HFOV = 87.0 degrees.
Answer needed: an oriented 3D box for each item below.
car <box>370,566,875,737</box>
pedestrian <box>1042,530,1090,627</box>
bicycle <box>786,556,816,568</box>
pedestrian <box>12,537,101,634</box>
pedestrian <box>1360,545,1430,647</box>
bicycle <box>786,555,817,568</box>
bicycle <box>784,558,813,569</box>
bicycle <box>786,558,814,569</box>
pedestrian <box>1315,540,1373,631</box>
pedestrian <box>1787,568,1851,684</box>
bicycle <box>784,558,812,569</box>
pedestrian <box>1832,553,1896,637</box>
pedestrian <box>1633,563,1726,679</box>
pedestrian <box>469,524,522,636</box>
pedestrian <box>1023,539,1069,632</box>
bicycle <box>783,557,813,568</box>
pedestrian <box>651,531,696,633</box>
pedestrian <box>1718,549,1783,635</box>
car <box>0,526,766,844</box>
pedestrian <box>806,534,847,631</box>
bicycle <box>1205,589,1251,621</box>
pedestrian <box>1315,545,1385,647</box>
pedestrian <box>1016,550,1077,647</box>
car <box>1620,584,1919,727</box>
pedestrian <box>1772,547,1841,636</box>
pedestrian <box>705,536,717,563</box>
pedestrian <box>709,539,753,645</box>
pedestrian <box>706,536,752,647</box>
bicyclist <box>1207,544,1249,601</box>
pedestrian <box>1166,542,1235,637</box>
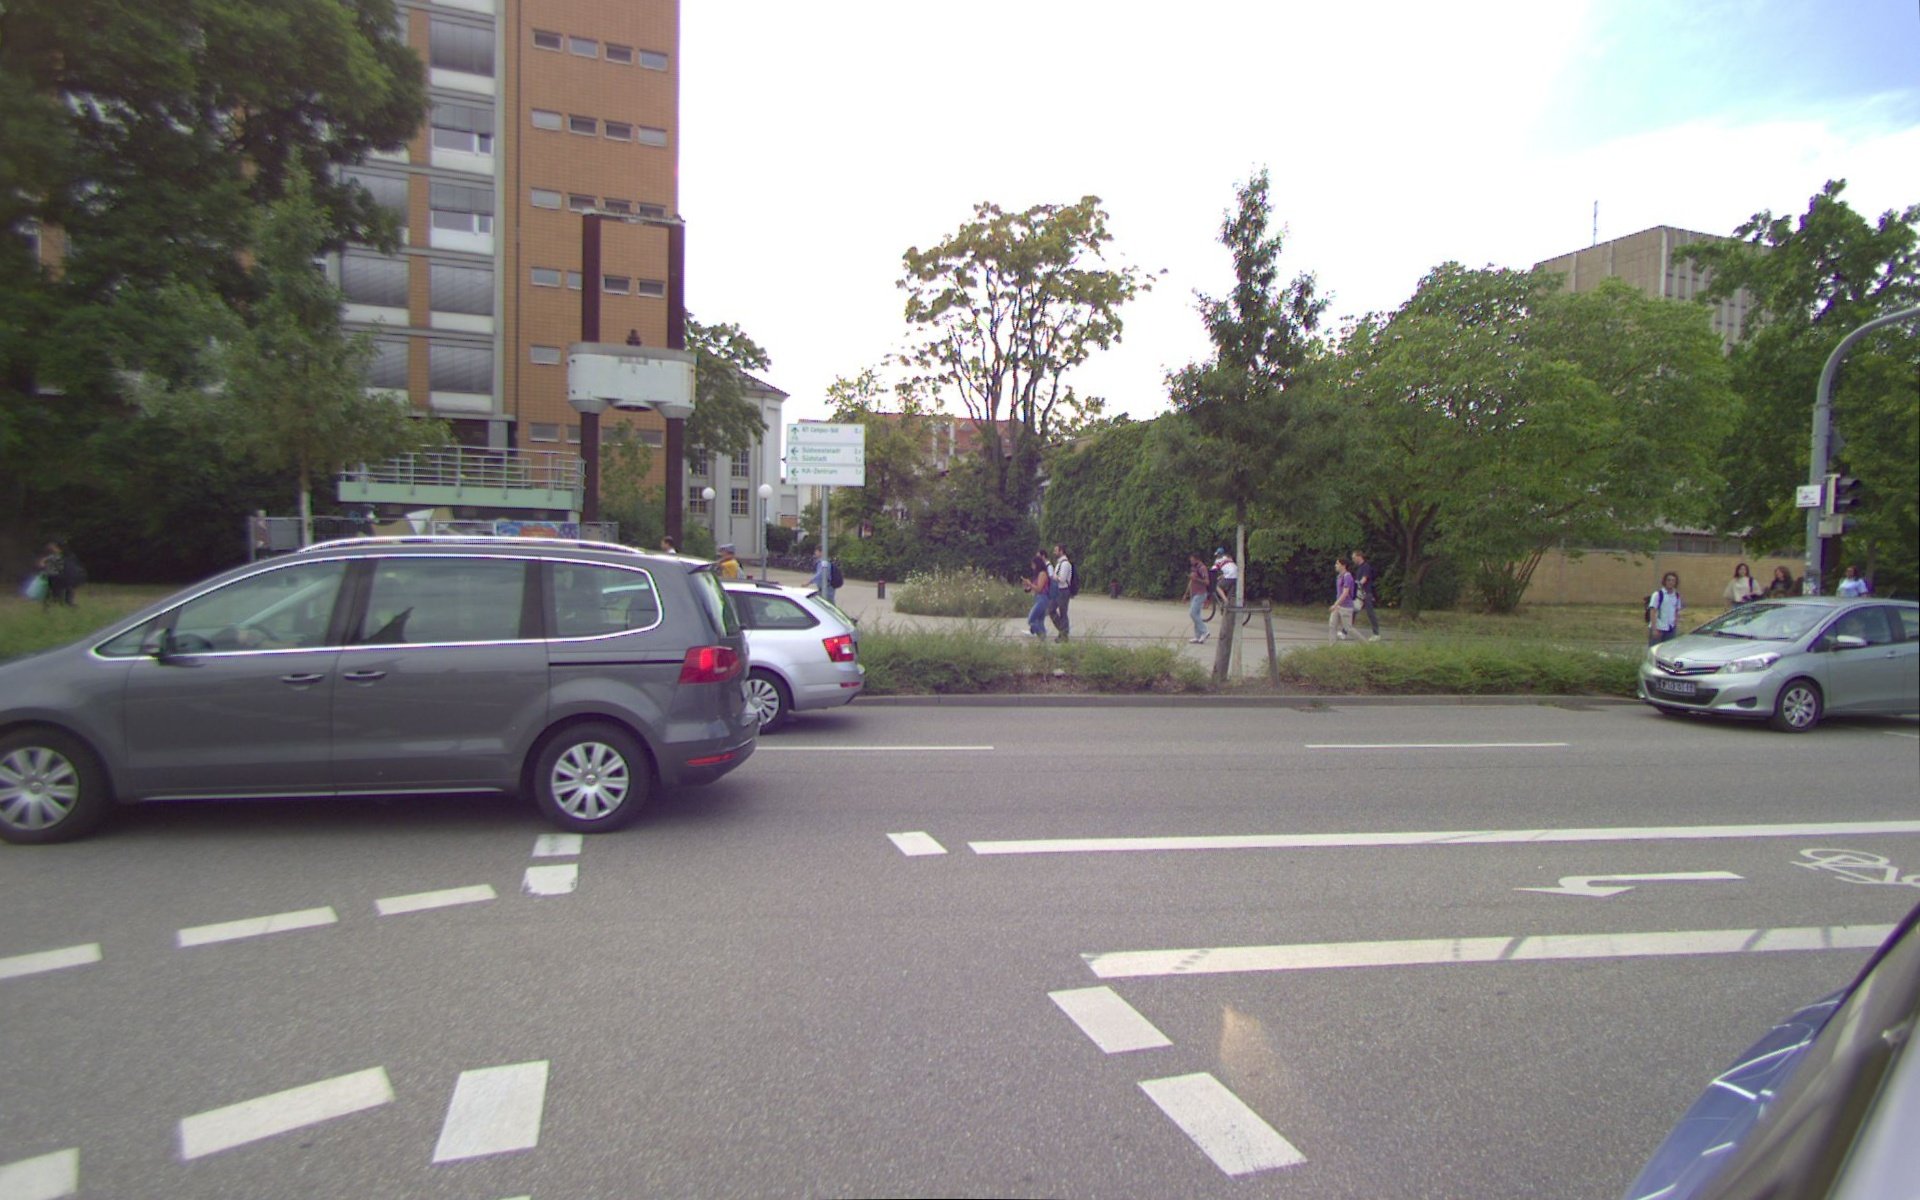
[{"bbox_3d":[-3.159,0.432,10.168,4.435,1.493,1.828,0,0,-10],"label":"car"},{"bbox_3d":[1.940,-0.395,18.557,0.693,1.732,0.641,0,0,-12],"label":"pedestrian"},{"bbox_3d":[-9.756,-2.351,62.074,1.807,0.702,0.653,0,0,-7],"label":"bicycle"},{"bbox_3d":[-15.181,-0.264,17.024,0.795,1.592,0.782,0,3,-12],"label":"pedestrian"},{"bbox_3d":[7.614,-0.082,17.741,0.783,1.732,0.841,0,0,-12],"label":"pedestrian"},{"bbox_3d":[-9.470,-2.302,60.504,1.807,0.702,0.668,0,0,-7],"label":"bicycle"},{"bbox_3d":[-10.376,-2.372,65.184,1.807,0.702,0.653,0,0,-7],"label":"bicycle"},{"bbox_3d":[-10.576,-2.399,67.030,1.807,0.702,0.653,0,0,-7],"label":"bicycle"},{"bbox_3d":[7.934,-0.301,20.954,0.783,1.831,0.841,0,0,-12],"label":"pedestrian"},{"bbox_3d":[13.042,0.386,15.369,0.576,1.732,0.482,0,0,-10],"label":"pedestrian"},{"bbox_3d":[-10.575,-2.392,65.999,1.807,0.702,0.653,0,0,-7],"label":"bicycle"},{"bbox_3d":[19.046,-0.103,21.329,0.783,1.732,0.716,0,0,-19],"label":"pedestrian"},{"bbox_3d":[11.045,0.307,15.556,0.822,1.732,0.801,0,0,-10],"label":"pedestrian"},{"bbox_3d":[-7.949,-0.359,17.348,0.693,1.875,0.641,0,2,-12],"label":"pedestrian"},{"bbox_3d":[1.630,-0.279,19.225,0.693,1.732,0.641,0,0,-12],"label":"pedestrian"},{"bbox_3d":[-10.145,-2.345,63.499,1.807,0.702,0.653,0,0,-7],"label":"bicycle"},{"bbox_3d":[-4.969,-0.324,17.581,0.693,1.732,0.641,0,2,-12],"label":"pedestrian"},{"bbox_3d":[16.311,-0.176,20.889,0.784,1.732,0.840,0,0,-31],"label":"pedestrian"},{"bbox_3d":[-3.595,0.424,6.475,4.589,1.671,1.763,0,0,-10],"label":"car"},{"bbox_3d":[-2.435,-0.334,18.421,0.693,1.731,0.642,0,4,-12],"label":"pedestrian"},{"bbox_3d":[6.203,0.098,23.348,0.833,0.702,1.832,0,1,21],"label":"bicycle"},{"bbox_3d":[6.754,-0.074,17.567,0.783,1.732,0.841,0,0,-12],"label":"pedestrian"},{"bbox_3d":[1.438,-0.042,17.049,0.783,1.561,0.842,0,4,-12],"label":"pedestrian"},{"bbox_3d":[10.123,0.577,11.956,3.795,1.508,1.674,0,0,-11],"label":"car"},{"bbox_3d":[16.836,-0.169,20.134,0.784,1.732,0.840,0,0,-31],"label":"pedestrian"},{"bbox_3d":[-15.998,-3.255,65.011,0.627,1.732,0.709,0,2,-7],"label":"pedestrian"},{"bbox_3d":[-3.819,-0.132,16.888,0.693,1.732,0.641,0,0,-12],"label":"pedestrian"},{"bbox_3d":[-3.677,-0.151,16.141,0.693,1.731,0.641,0,3,-12],"label":"pedestrian"},{"bbox_3d":[6.177,-0.626,23.274,0.830,1.293,1.006,0,0,22],"label":"bicyclist"},{"bbox_3d":[4.514,-0.204,19.021,0.992,1.732,0.841,0,0,-12],"label":"pedestrian"}]
